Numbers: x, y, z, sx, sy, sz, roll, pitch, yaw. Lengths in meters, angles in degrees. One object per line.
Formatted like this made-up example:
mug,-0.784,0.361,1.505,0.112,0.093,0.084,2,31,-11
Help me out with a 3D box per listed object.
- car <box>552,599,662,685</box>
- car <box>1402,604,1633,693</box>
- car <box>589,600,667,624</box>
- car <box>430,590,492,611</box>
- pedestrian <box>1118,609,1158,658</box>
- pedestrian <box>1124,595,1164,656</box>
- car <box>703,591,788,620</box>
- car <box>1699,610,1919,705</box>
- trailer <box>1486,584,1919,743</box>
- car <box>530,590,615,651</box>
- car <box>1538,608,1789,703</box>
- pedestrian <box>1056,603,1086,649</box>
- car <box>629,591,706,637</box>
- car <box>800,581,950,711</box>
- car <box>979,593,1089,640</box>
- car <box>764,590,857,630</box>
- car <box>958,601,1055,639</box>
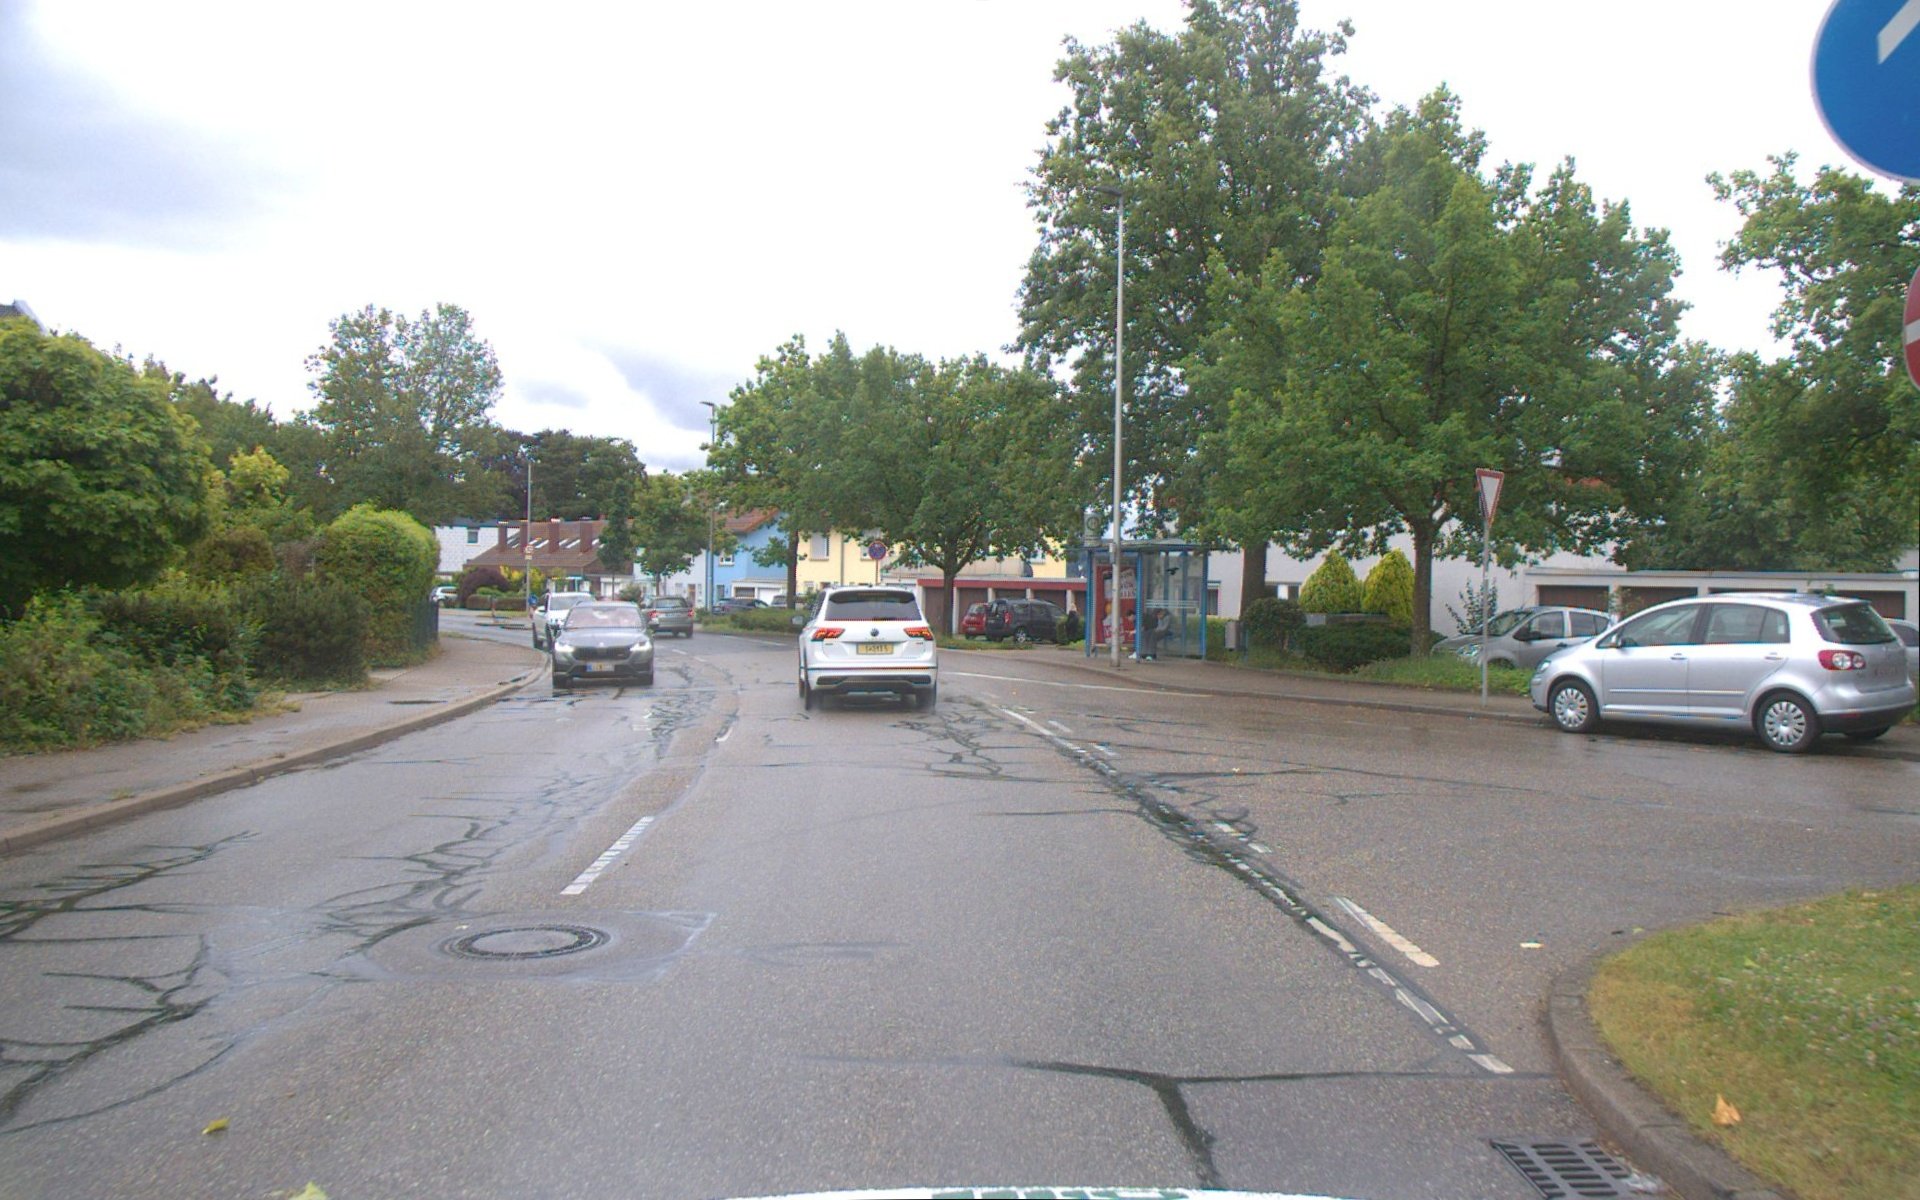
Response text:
car,-6.522,0.723,30.283,1.712,1.439,4.125,0,0,-16
car,10.011,0.852,29.797,3.582,1.512,1.754,1,0,-12
car,-19.253,0.701,95.955,1.651,1.283,4.288,2,0,44
car,-36.016,0.046,119.382,3.959,1.467,1.822,0,0,-38
pedestrian,3.848,0.722,35.710,0.735,1.029,0.550,1,0,-10
pedestrian,3.882,0.524,34.891,0.713,1.272,0.550,1,0,-10
car,-10.712,0.266,82.796,3.961,1.411,1.651,1,0,-40
car,13.532,0.850,25.306,3.968,1.360,1.725,1,0,-19
trailer,8.400,0.619,18.770,1.977,1.570,4.371,0,0,-35
car,-11.848,0.594,50.324,1.863,1.639,4.836,3,0,-20
car,11.864,0.912,27.963,3.583,1.512,1.754,1,0,-14
pedestrian,3.896,0.898,58.045,0.660,1.585,0.830,1,0,-41
car,-10.435,0.473,58.763,1.746,1.578,3.969,0,0,-25
car,-1.293,0.582,23.534,1.830,1.679,3.993,0,0,-7
car,2.839,0.611,63.325,3.958,1.751,1.898,0,0,-38
car,-6.964,0.479,77.179,4.159,1.701,1.694,3,-2,-44
car,1.853,0.768,65.908,3.666,1.467,1.684,0,0,-38
